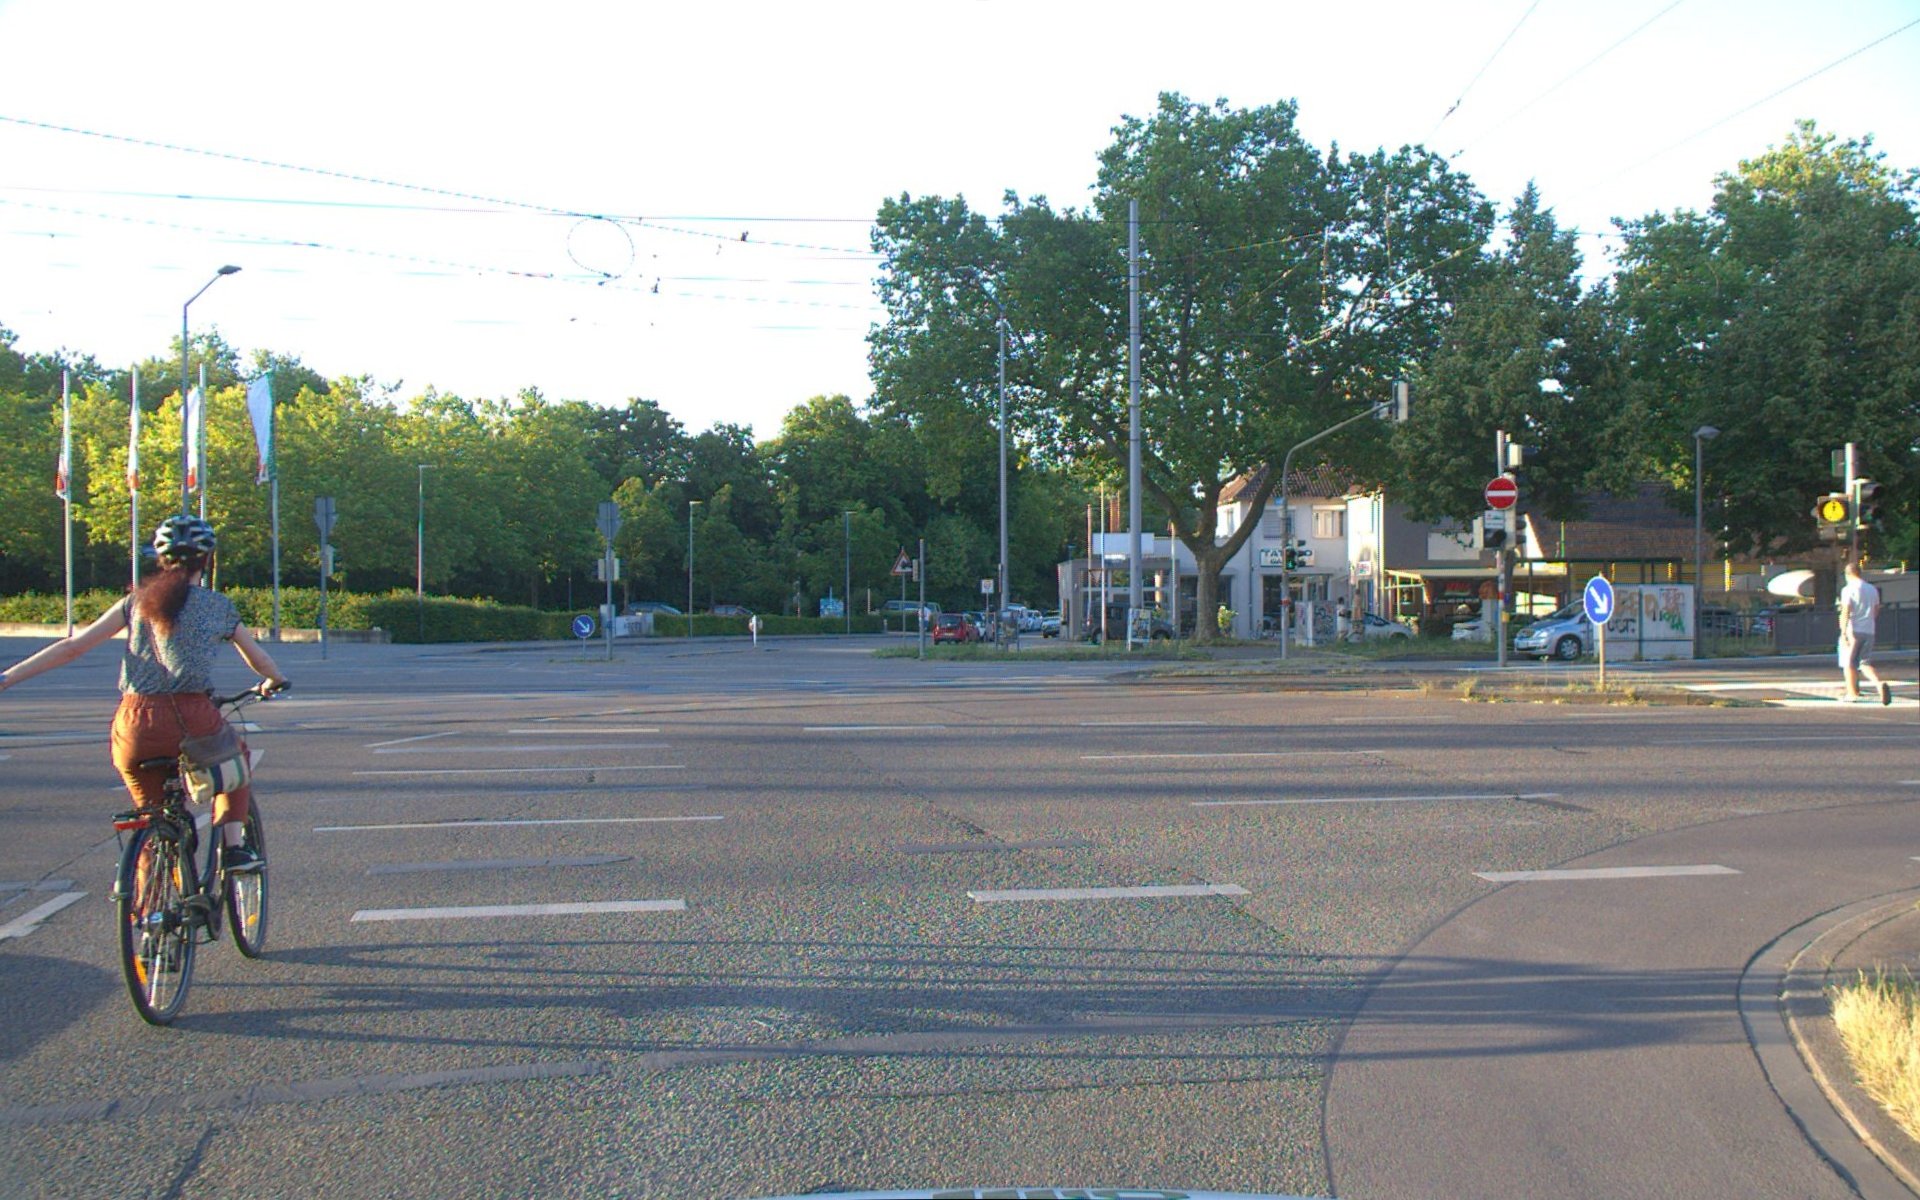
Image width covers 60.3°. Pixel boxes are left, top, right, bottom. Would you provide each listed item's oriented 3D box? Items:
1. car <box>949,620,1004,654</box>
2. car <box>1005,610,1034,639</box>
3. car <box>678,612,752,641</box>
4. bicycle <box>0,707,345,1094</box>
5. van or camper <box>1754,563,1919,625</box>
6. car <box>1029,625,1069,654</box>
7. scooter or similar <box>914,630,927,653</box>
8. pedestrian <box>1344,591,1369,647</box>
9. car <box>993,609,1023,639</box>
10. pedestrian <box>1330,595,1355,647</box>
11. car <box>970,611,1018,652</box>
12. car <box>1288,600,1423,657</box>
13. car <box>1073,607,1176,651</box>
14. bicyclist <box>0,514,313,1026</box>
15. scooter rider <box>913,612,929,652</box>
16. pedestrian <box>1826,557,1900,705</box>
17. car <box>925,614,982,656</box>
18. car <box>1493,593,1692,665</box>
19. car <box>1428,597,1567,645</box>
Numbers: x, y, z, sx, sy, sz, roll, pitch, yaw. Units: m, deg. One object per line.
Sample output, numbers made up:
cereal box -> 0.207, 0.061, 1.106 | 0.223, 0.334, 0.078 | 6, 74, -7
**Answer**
car -> 0.874, 1.835, 83.171 | 1.951, 1.601, 4.003 | -1, 0, 13
car -> 4.337, 1.782, 120.108 | 1.953, 2.049, 4.000 | -1, 0, 0
car -> -13.534, 1.459, 91.457 | 3.910, 1.588, 1.998 | -1, -1, -6
bicycle -> -2.923, 1.013, 6.274 | 0.622, 1.086, 2.119 | 0, -1, -7
van or camper -> 36.325, -0.227, 67.843 | 6.432, 2.452, 2.263 | 0, -1, -3
car -> 5.372, 2.365, 99.278 | 1.874, 1.631, 4.003 | -1, 0, 11
scooter or similar -> -1.888, 1.976, 79.007 | 0.500, 1.109, 1.241 | 0, -1, -7
pedestrian -> 12.803, 0.606, 53.371 | 0.703, 1.785, 0.898 | -1, -1, 17
car -> 3.311, 1.678, 115.374 | 1.953, 2.049, 4.000 | -1, 0, 0
pedestrian -> 12.592, 0.689, 54.419 | 0.703, 1.668, 0.898 | -1, -1, 17
car -> 1.840, 1.618, 87.140 | 1.874, 2.083, 4.003 | -1, 0, 11
car -> 13.743, 0.980, 57.615 | 4.147, 1.879, 1.998 | -1, -1, -5
car -> 7.266, 1.295, 73.388 | 4.289, 1.867, 1.948 | -1, -1, -2
bicyclist -> -3.085, 0.584, 6.187 | 1.012, 1.748, 0.994 | 0, -1, -7
scooter rider -> -1.867, 1.533, 78.995 | 0.689, 1.887, 0.668 | 0, -2, -7
pedestrian -> 11.391, 0.380, 20.880 | 0.746, 1.822, 0.802 | 0, -1, 23
car -> -0.278, 1.662, 79.213 | 1.828, 1.907, 3.877 | -1, 0, 14
car -> 16.105, 0.722, 42.214 | 4.453, 1.758, 1.856 | 0, -1, -11
car -> 18.724, 0.727, 57.720 | 4.147, 1.605, 1.998 | -1, -1, -5
